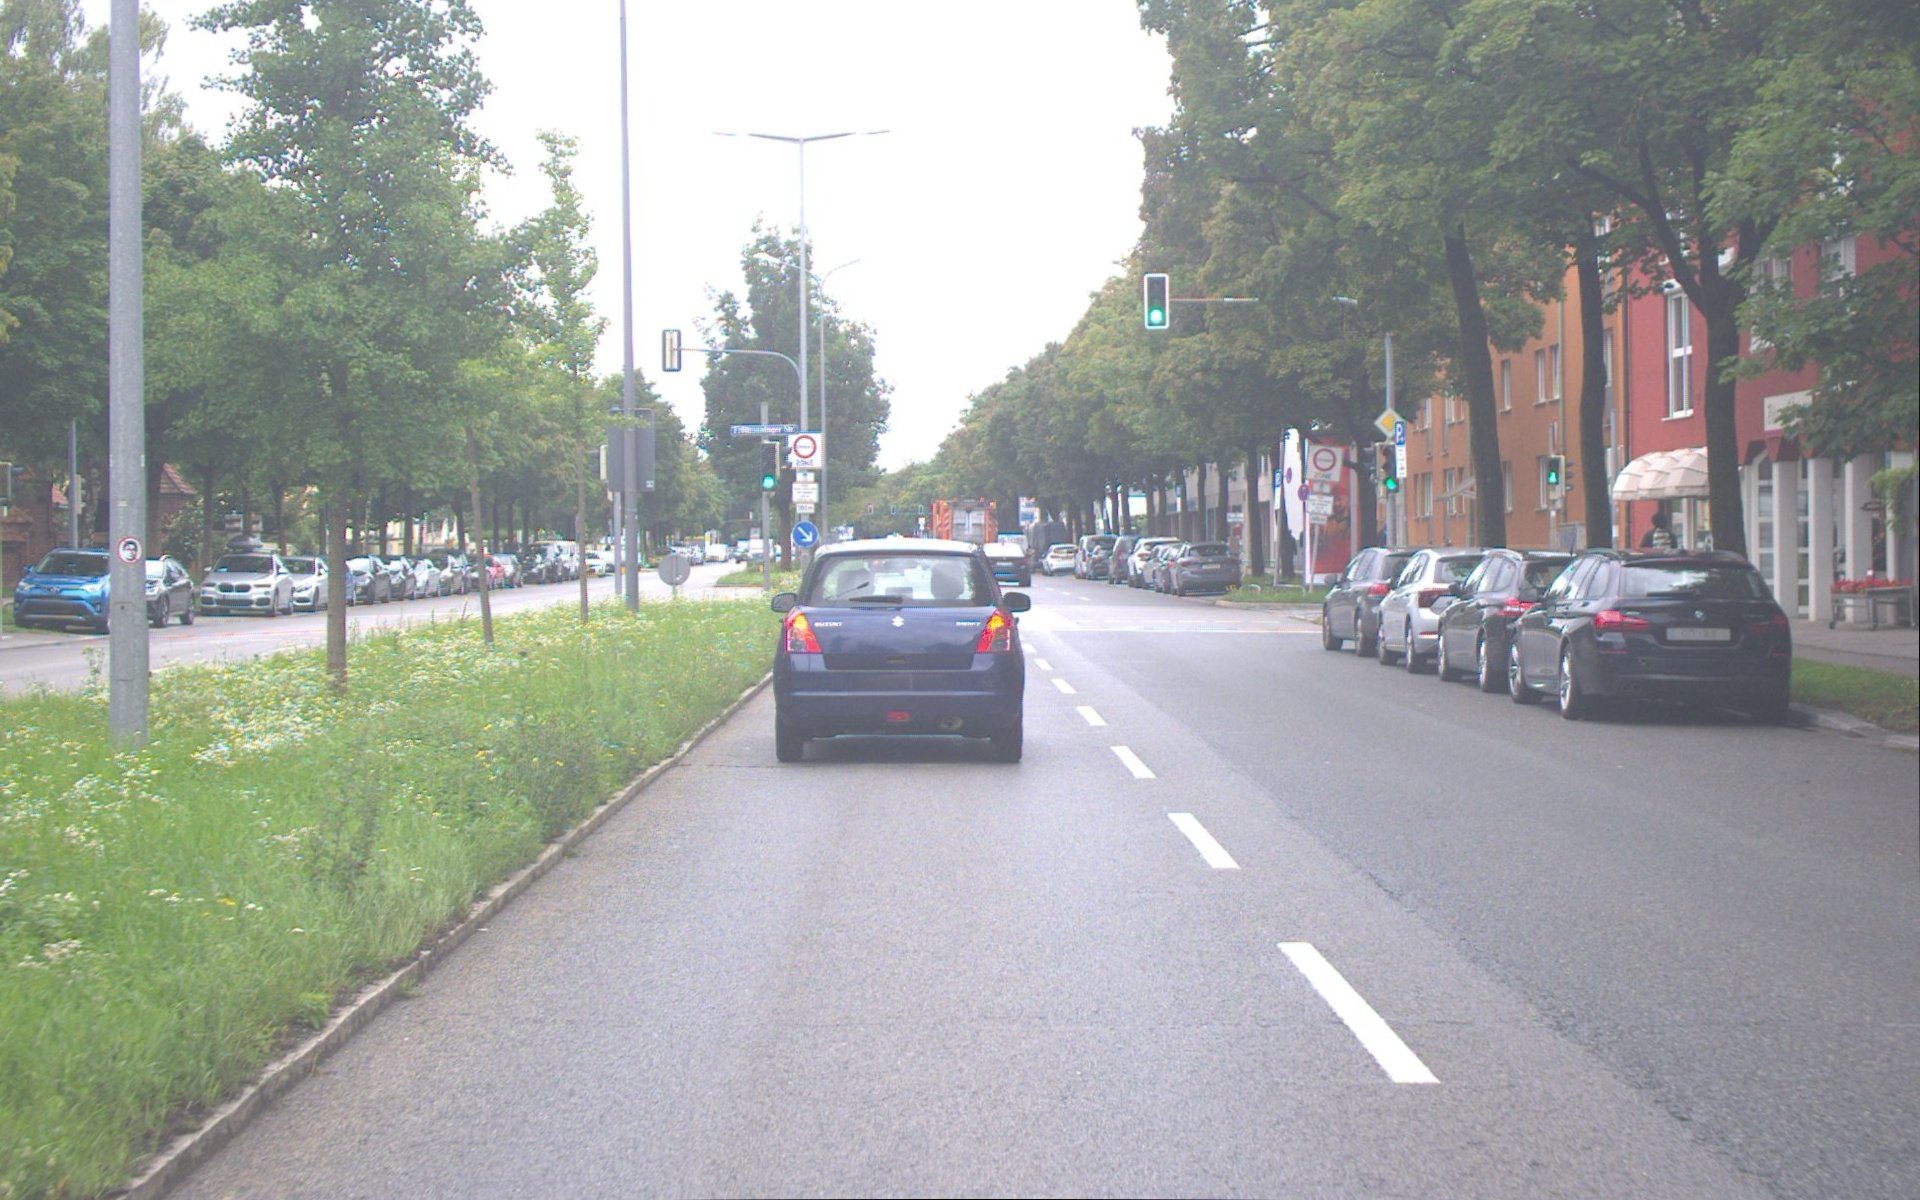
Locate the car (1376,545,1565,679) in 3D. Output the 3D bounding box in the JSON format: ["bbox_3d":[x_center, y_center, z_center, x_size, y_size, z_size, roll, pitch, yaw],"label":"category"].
[{"bbox_3d":[5.965,0.103,40.570,1.695,1.447,4.123,-1,1,1],"label":"car"}]

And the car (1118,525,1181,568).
[{"bbox_3d":[6.890,-1.964,125.354,1.993,1.525,4.000,-1,1,0],"label":"car"}]

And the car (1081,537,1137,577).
[{"bbox_3d":[5.959,-1.725,137.741,1.993,1.525,4.000,-1,1,0],"label":"car"}]

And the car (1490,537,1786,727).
[{"bbox_3d":[5.888,0.218,30.365,1.653,1.447,4.709,-2,2,0],"label":"car"}]

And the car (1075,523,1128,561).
[{"bbox_3d":[5.848,-2.402,142.522,1.993,1.525,4.000,-1,1,0],"label":"car"}]

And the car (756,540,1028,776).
[{"bbox_3d":[-0.426,0.341,24.309,1.753,1.499,4.000,0,1,0],"label":"car"}]

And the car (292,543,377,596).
[{"bbox_3d":[-18.386,-0.916,101.177,1.801,1.529,4.000,0,1,-1],"label":"car"}]

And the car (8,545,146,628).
[{"bbox_3d":[-17.369,-0.292,67.776,1.706,1.529,4.000,-1,1,0],"label":"car"}]

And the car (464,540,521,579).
[{"bbox_3d":[-19.053,-1.672,140.176,1.801,1.529,4.000,-1,1,0],"label":"car"}]

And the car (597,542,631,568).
[{"bbox_3d":[-21.705,-2.830,215.765,1.801,1.529,4.000,-1,1,0],"label":"car"}]

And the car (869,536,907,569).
[{"bbox_3d":[-3.262,-2.179,156.520,1.718,1.495,4.301,0,1,-1],"label":"car"}]

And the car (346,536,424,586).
[{"bbox_3d":[-18.146,-1.244,108.573,1.801,1.529,4.000,-1,1,0],"label":"car"}]

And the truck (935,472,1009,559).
[{"bbox_3d":[0.534,-3.590,147.280,3.041,3.545,13.675,0,1,0],"label":"truck"}]

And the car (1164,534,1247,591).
[{"bbox_3d":[6.880,-1.069,96.536,1.993,1.525,4.000,-1,1,0],"label":"car"}]

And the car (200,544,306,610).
[{"bbox_3d":[-17.441,-0.583,84.929,1.801,1.529,4.000,-1,1,0],"label":"car"}]

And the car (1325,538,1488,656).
[{"bbox_3d":[5.852,-0.071,45.476,1.695,1.447,4.123,-1,1,1],"label":"car"}]

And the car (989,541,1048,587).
[{"bbox_3d":[1.966,-1.230,116.152,1.821,1.472,4.691,1,1,-1],"label":"car"}]

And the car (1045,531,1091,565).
[{"bbox_3d":[5.047,-2.436,161.129,1.993,1.525,4.000,-1,1,0],"label":"car"}]

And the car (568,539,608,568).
[{"bbox_3d":[-20.214,-2.542,186.981,1.801,1.529,4.000,0,1,-1],"label":"car"}]

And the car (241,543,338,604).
[{"bbox_3d":[-17.810,-0.730,91.503,1.801,1.529,4.000,-1,1,0],"label":"car"}]
